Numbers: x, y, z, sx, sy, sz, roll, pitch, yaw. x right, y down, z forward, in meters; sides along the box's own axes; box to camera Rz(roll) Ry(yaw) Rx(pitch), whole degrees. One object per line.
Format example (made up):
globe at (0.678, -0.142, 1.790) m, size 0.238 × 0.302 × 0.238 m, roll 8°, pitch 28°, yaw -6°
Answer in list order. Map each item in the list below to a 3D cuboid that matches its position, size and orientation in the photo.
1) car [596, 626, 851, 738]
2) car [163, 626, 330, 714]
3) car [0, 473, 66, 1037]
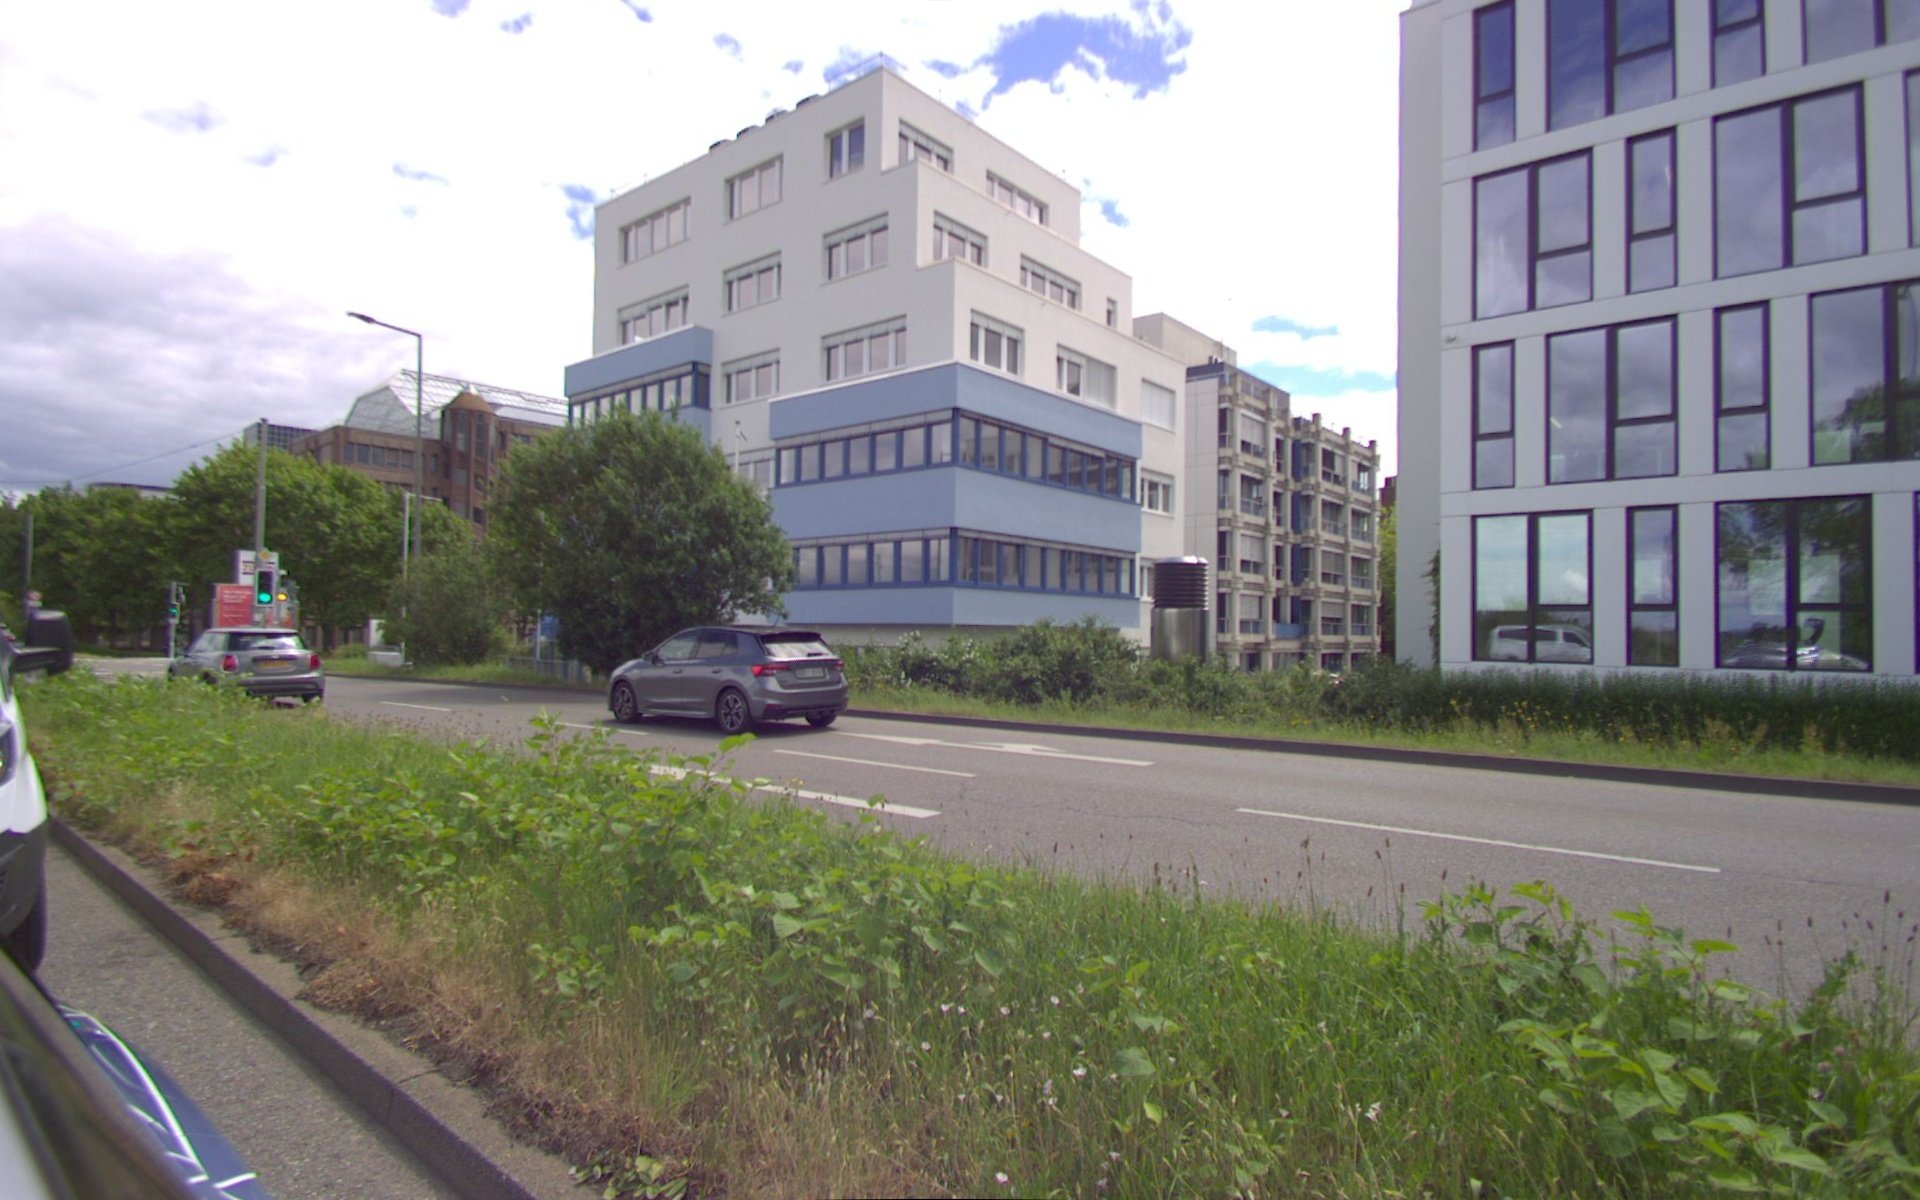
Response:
car at (-3.425, 1.075, 14.337) m, size 3.775 × 1.393 × 1.538 m, roll -2°, pitch -2°, yaw 39°
car at (-13.054, 1.192, 18.448) m, size 3.633 × 1.441 × 1.671 m, roll -1°, pitch -2°, yaw 41°
car at (-5.768, 0.585, 4.597) m, size 5.052 × 1.965 × 1.942 m, roll -2°, pitch -1°, yaw 41°
